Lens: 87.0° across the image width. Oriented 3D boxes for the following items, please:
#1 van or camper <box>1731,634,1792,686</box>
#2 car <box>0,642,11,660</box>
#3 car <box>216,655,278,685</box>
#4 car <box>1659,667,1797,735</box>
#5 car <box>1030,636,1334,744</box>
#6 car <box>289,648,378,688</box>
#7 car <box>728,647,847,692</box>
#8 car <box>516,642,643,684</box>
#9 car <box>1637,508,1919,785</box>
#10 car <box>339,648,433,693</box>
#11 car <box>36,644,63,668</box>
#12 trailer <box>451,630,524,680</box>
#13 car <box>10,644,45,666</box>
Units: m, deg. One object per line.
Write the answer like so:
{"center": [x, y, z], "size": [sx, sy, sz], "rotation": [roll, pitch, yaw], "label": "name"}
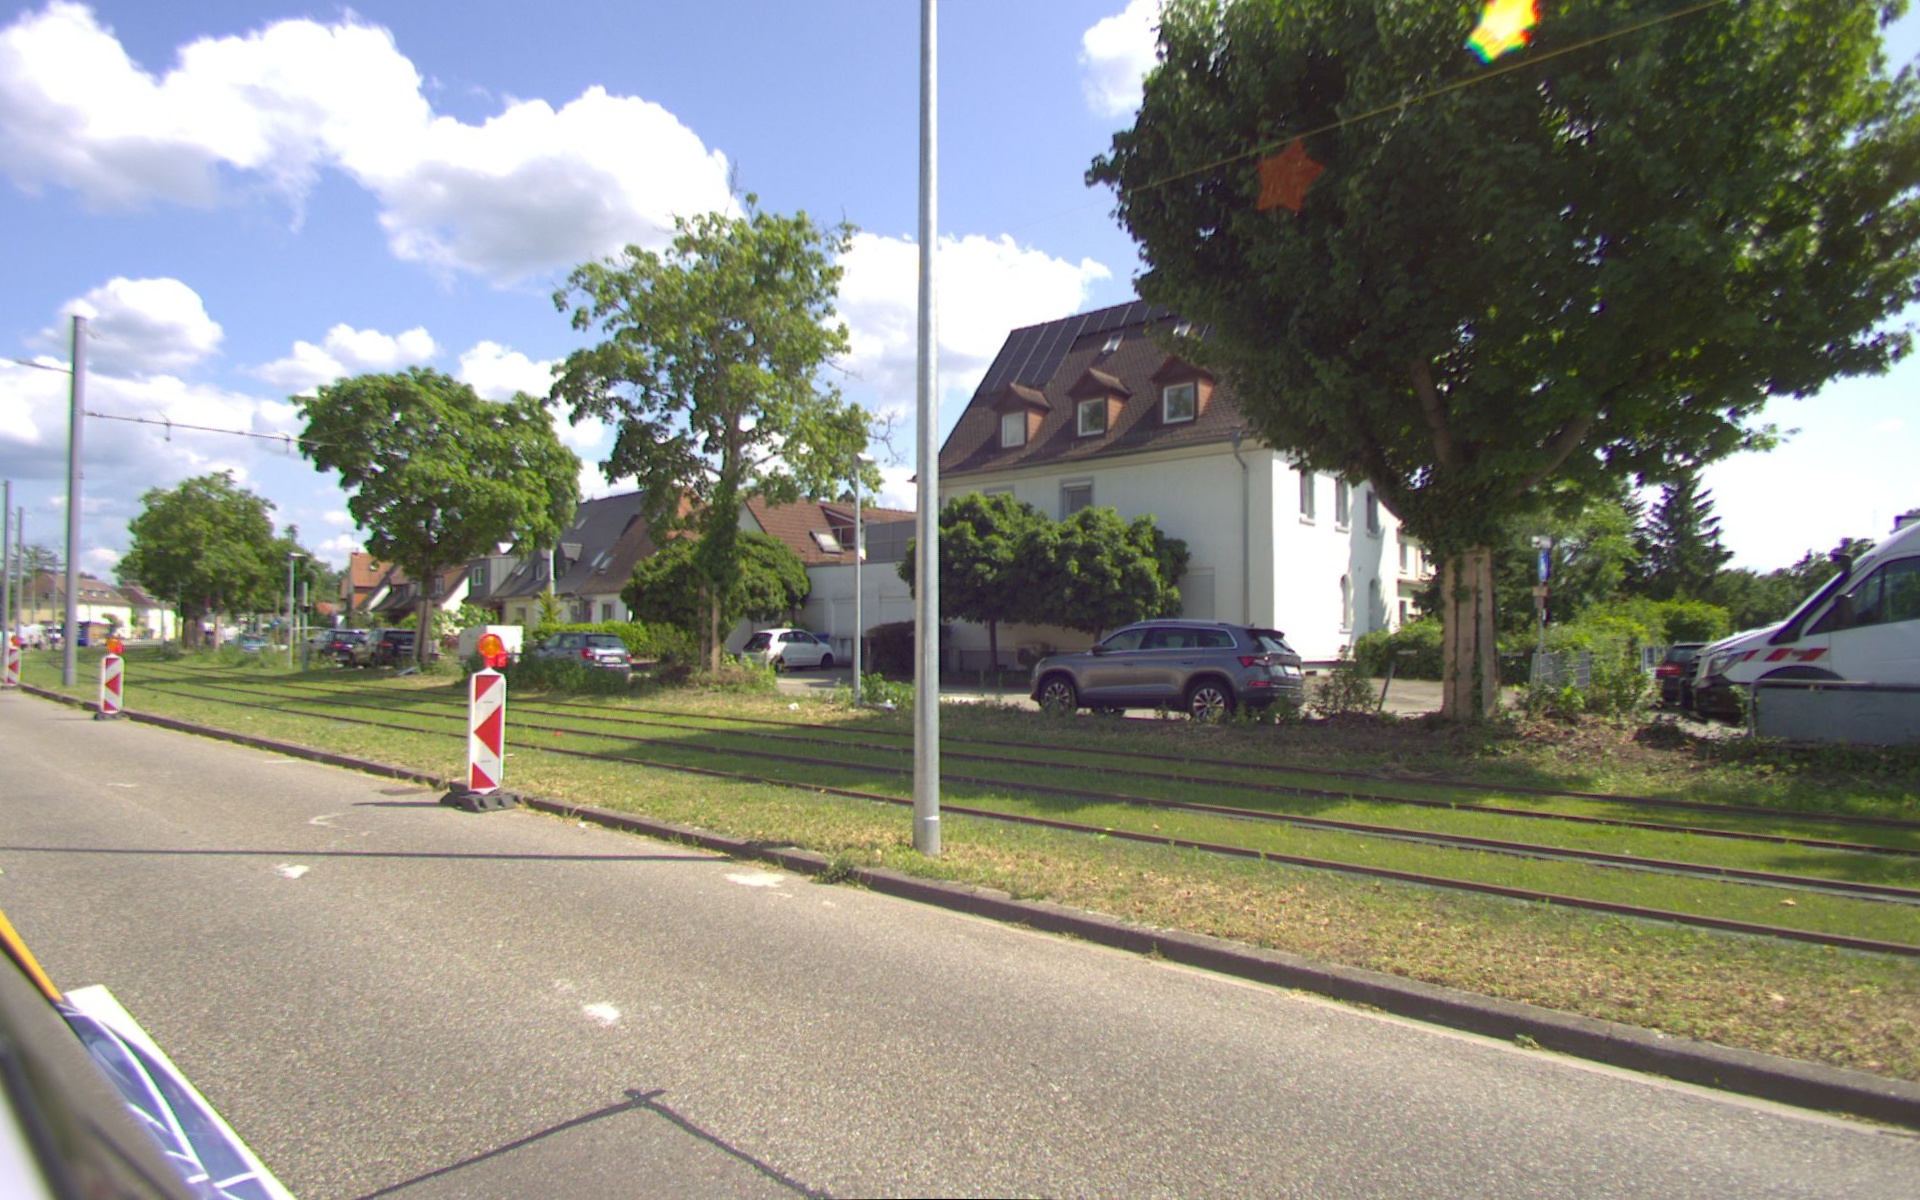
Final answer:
{"center": [34.534, 2.559, 43.595], "size": [1.768, 2.116, 4.179], "rotation": [-2, -4, 42], "label": "van or camper"}
{"center": [-82.973, 4.391, 87.055], "size": [1.490, 1.510, 3.582], "rotation": [3, -4, -37], "label": "car"}
{"center": [-39.632, 3.872, 56.192], "size": [4.323, 1.551, 1.971], "rotation": [-2, -4, 44], "label": "car"}
{"center": [15.723, 1.983, 20.651], "size": [2.044, 1.170, 3.946], "rotation": [-1, -4, 40], "label": "car"}
{"center": [3.534, 1.379, 16.585], "size": [4.484, 1.517, 1.973], "rotation": [-2, -4, 41], "label": "car"}
{"center": [-26.612, 2.864, 42.936], "size": [4.320, 1.551, 1.972], "rotation": [-2, -4, 41], "label": "car"}
{"center": [-6.244, 2.551, 36.996], "size": [1.998, 1.539, 3.946], "rotation": [-5, -6, 40], "label": "car"}
{"center": [-10.968, 1.778, 29.097], "size": [3.834, 1.101, 1.763], "rotation": [-1, -4, 41], "label": "car"}
{"center": [10.852, 0.474, 10.238], "size": [6.455, 2.751, 1.974], "rotation": [-2, -4, 39], "label": "car"}
{"center": [-22.458, 2.783, 39.557], "size": [4.099, 1.590, 1.885], "rotation": [-4, -8, 42], "label": "car"}
{"center": [-97.992, 6.003, 108.938], "size": [1.669, 2.450, 3.583], "rotation": [2, -3, -34], "label": "car"}
{"center": [-15.177, 1.757, 32.489], "size": [2.280, 1.530, 1.286], "rotation": [-2, -4, 40], "label": "trailer"}
{"center": [-90.643, 5.373, 98.404], "size": [1.812, 2.070, 3.878], "rotation": [3, -4, -34], "label": "car"}
